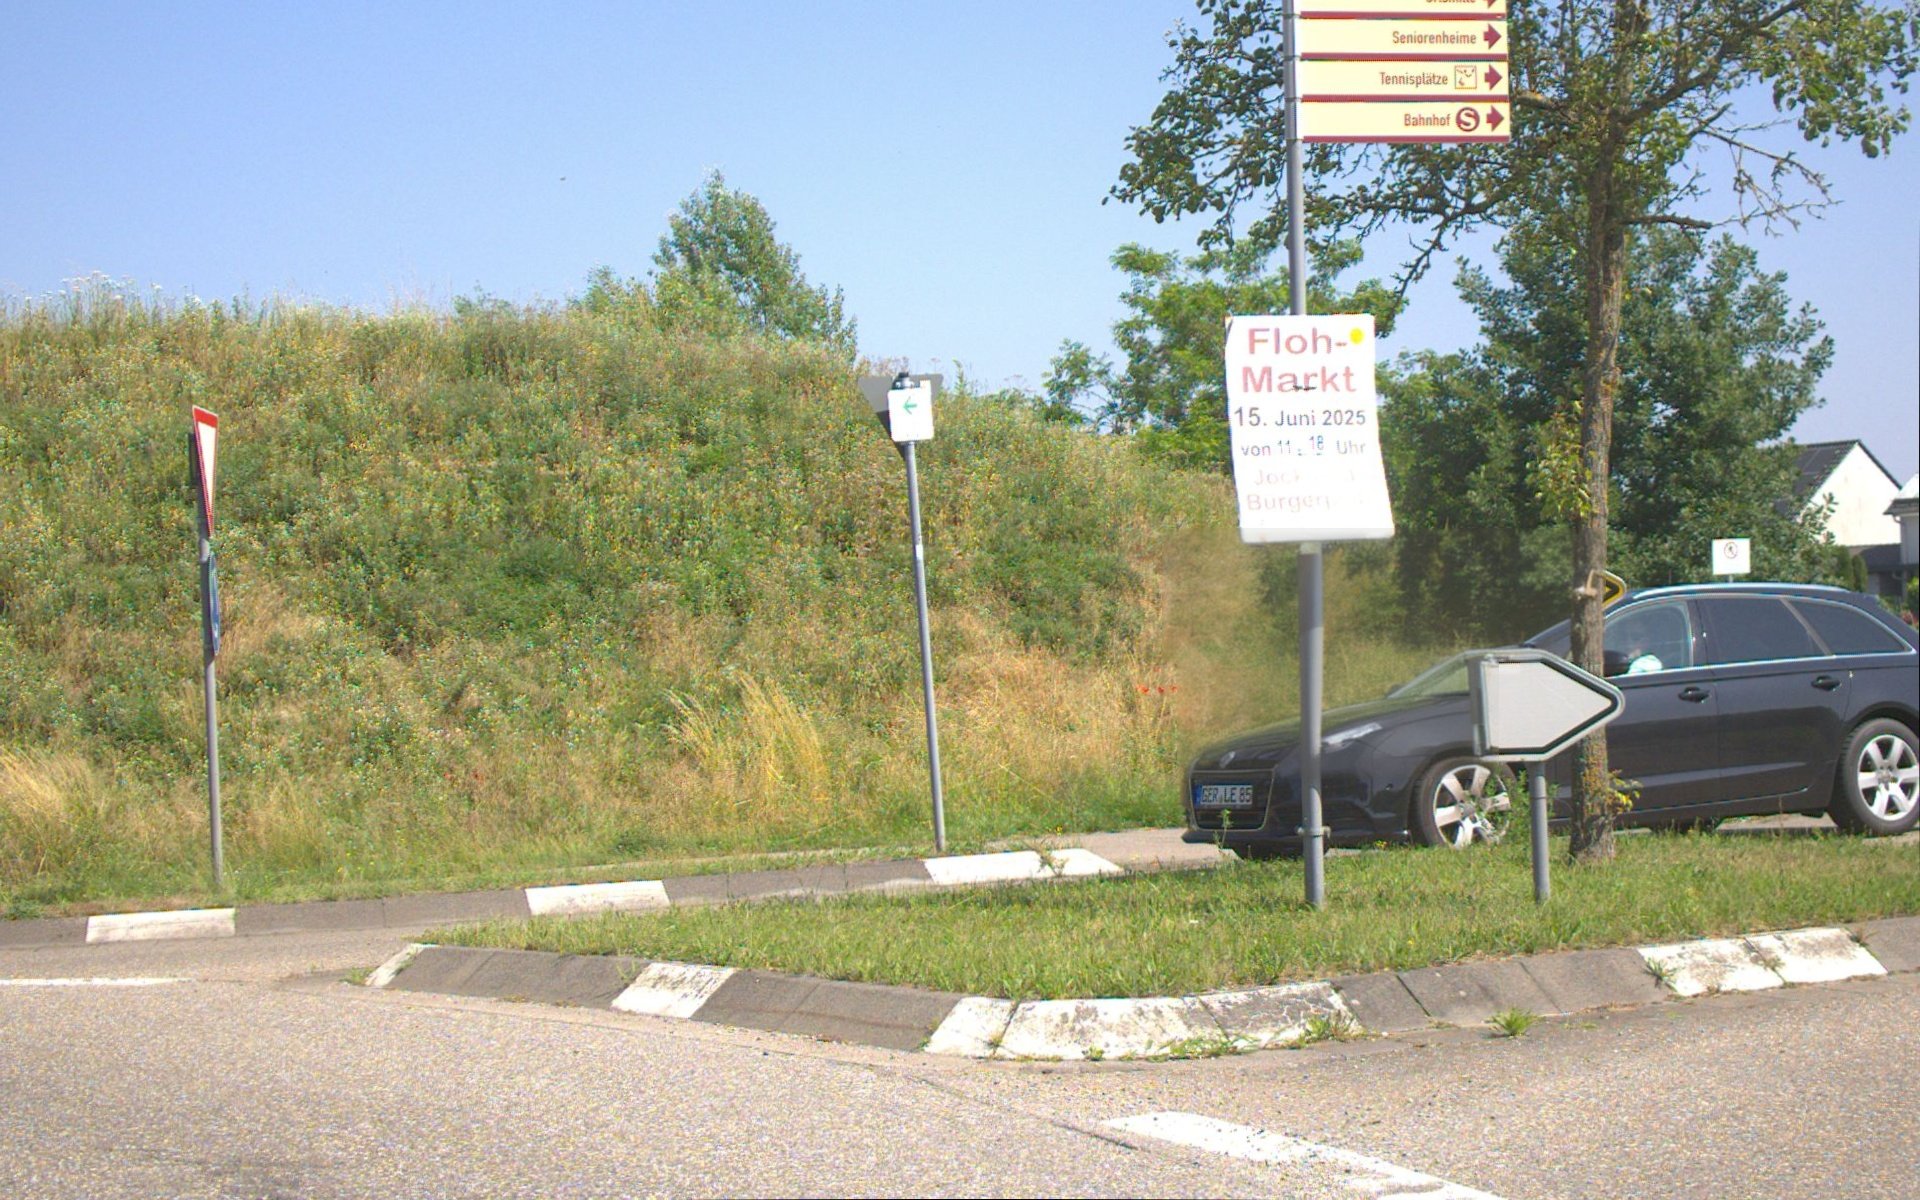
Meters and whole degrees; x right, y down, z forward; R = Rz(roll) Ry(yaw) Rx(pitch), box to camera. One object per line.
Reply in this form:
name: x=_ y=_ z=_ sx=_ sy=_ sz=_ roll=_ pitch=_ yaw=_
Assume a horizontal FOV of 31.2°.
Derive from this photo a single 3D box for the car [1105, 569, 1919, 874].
car: x=3.402 y=0.641 z=18.964 sx=4.896 sy=1.429 sz=1.923 roll=-1 pitch=-3 yaw=-32
